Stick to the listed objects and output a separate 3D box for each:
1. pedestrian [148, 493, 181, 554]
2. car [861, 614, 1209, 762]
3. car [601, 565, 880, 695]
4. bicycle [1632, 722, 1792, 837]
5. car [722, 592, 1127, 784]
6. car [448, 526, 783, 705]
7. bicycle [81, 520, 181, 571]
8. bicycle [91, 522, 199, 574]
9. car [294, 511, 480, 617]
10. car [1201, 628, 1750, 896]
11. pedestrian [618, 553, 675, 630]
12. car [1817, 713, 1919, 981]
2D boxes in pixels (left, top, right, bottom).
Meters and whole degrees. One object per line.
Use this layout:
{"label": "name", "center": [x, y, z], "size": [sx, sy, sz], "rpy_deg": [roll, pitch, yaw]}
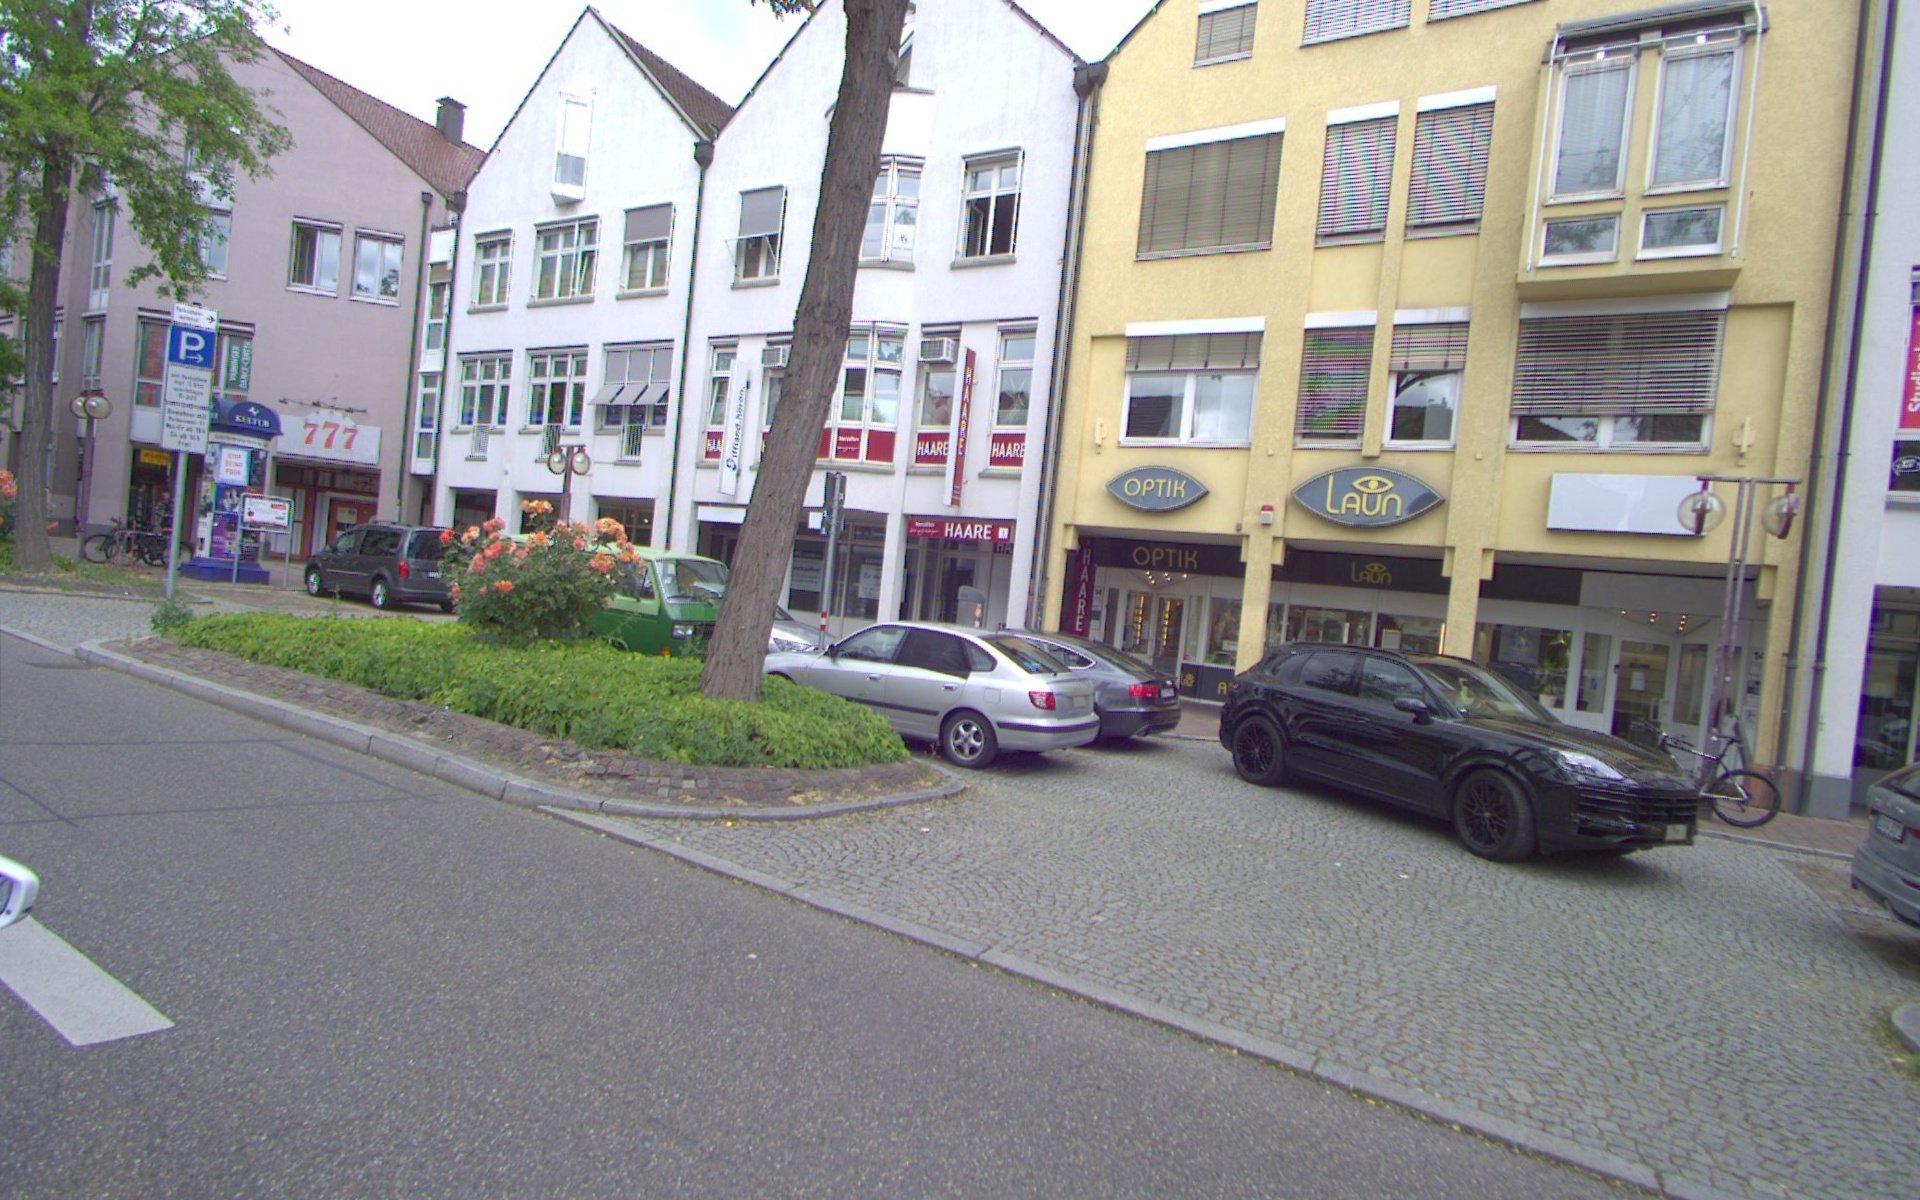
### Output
{"label": "pedestrian", "center": [-25.576, -2.457, 32.359], "size": [0.646, 1.857, 0.604], "rpy_deg": [6, 1, -36]}
{"label": "car", "center": [1.009, 1.124, 14.100], "size": [4.344, 1.332, 1.999], "rpy_deg": [7, 1, 30]}
{"label": "car", "center": [-3.672, 0.446, 16.607], "size": [4.320, 1.562, 1.797], "rpy_deg": [7, 1, 30]}
{"label": "bicycle", "center": [8.731, 2.063, 11.736], "size": [1.356, 1.058, 0.392], "rpy_deg": [7, 2, 32]}
{"label": "car", "center": [-0.483, 0.913, 11.745], "size": [4.344, 1.468, 1.765], "rpy_deg": [7, 0, 30]}
{"label": "car", "center": [-4.949, 0.151, 14.277], "size": [4.527, 1.900, 1.882], "rpy_deg": [7, 2, 30]}
{"label": "bicycle", "center": [-20.122, -1.305, 24.455], "size": [0.440, 1.009, 1.769], "rpy_deg": [7, 0, 36]}
{"label": "bicycle", "center": [-19.612, -1.239, 24.250], "size": [0.460, 1.009, 1.901], "rpy_deg": [7, 0, 36]}
{"label": "car", "center": [-12.754, -0.808, 22.352], "size": [3.898, 1.855, 1.639], "rpy_deg": [7, 1, 28]}
{"label": "car", "center": [4.842, 1.403, 10.287], "size": [1.838, 1.692, 4.626], "rpy_deg": [5, 1, -30]}
{"label": "pedestrian", "center": [-7.197, -0.187, 23.086], "size": [0.805, 1.682, 0.789], "rpy_deg": [7, 3, 32]}
{"label": "car", "center": [8.584, 1.895, 6.106], "size": [4.682, 1.615, 1.997], "rpy_deg": [7, 0, 29]}
